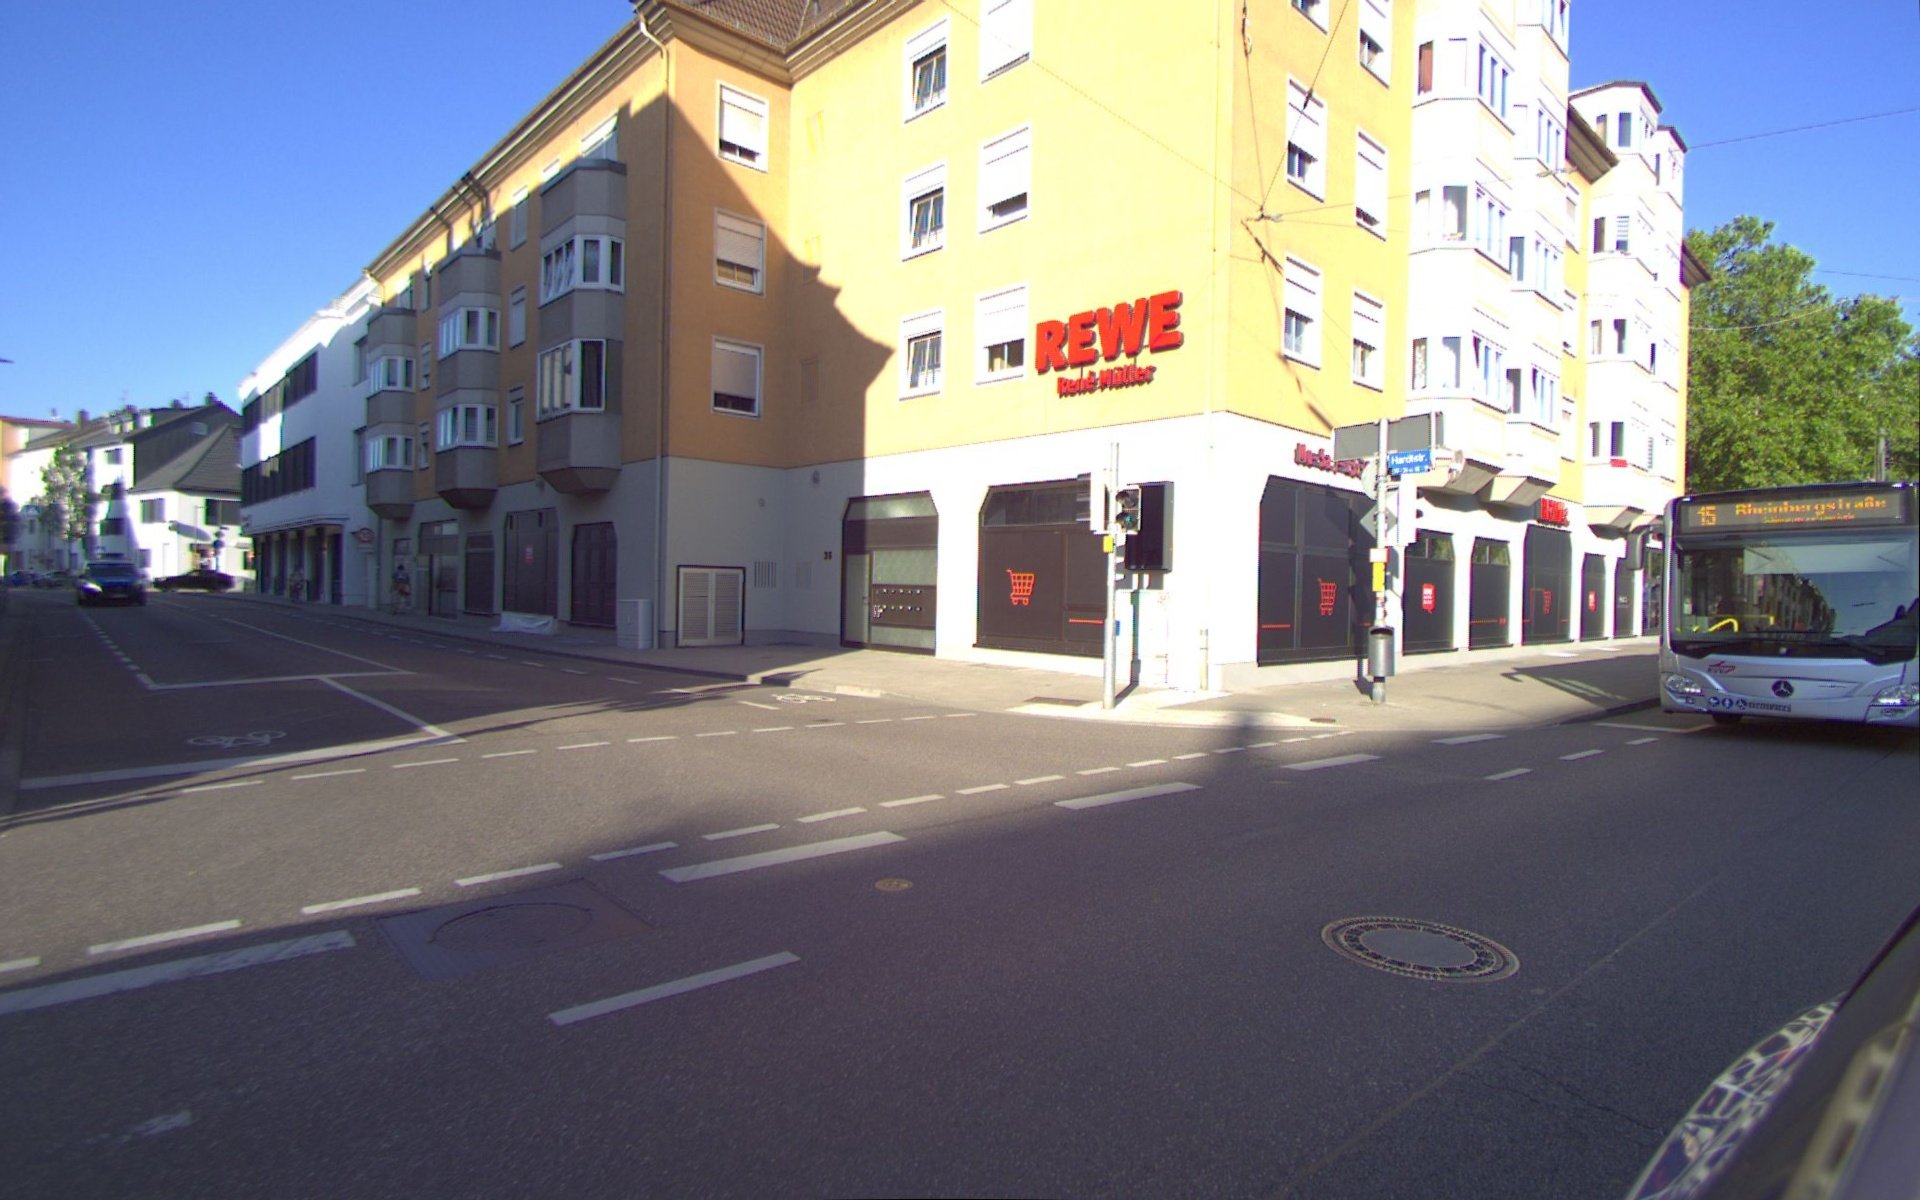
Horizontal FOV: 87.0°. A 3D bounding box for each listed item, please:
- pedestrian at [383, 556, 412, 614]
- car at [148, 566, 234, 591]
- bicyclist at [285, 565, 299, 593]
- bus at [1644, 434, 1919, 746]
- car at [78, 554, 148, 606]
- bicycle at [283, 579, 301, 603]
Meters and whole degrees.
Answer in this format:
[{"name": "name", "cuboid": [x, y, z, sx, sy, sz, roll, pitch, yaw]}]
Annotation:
[{"name": "pedestrian", "cuboid": [-19.598, -0.539, 35.285, 0.708, 1.977, 0.685, -3, 2, -40]}, {"name": "car", "cuboid": [-53.549, -1.475, 70.558, 1.991, 1.677, 4.498, 0, 1, 40]}, {"name": "bicyclist", "cuboid": [-30.986, -0.966, 46.951, 0.478, 1.310, 0.499, 0, 1, -43]}, {"name": "bus", "cuboid": [15.662, -0.164, 16.950, 17.435, 3.189, 2.770, 0, 1, -42]}, {"name": "car", "cuboid": [-35.415, -0.861, 42.263, 1.967, 2.025, 4.476, -1, 2, -43]}, {"name": "bicycle", "cuboid": [-30.975, -0.441, 46.935, 0.478, 1.090, 1.310, 0, 1, -43]}]
